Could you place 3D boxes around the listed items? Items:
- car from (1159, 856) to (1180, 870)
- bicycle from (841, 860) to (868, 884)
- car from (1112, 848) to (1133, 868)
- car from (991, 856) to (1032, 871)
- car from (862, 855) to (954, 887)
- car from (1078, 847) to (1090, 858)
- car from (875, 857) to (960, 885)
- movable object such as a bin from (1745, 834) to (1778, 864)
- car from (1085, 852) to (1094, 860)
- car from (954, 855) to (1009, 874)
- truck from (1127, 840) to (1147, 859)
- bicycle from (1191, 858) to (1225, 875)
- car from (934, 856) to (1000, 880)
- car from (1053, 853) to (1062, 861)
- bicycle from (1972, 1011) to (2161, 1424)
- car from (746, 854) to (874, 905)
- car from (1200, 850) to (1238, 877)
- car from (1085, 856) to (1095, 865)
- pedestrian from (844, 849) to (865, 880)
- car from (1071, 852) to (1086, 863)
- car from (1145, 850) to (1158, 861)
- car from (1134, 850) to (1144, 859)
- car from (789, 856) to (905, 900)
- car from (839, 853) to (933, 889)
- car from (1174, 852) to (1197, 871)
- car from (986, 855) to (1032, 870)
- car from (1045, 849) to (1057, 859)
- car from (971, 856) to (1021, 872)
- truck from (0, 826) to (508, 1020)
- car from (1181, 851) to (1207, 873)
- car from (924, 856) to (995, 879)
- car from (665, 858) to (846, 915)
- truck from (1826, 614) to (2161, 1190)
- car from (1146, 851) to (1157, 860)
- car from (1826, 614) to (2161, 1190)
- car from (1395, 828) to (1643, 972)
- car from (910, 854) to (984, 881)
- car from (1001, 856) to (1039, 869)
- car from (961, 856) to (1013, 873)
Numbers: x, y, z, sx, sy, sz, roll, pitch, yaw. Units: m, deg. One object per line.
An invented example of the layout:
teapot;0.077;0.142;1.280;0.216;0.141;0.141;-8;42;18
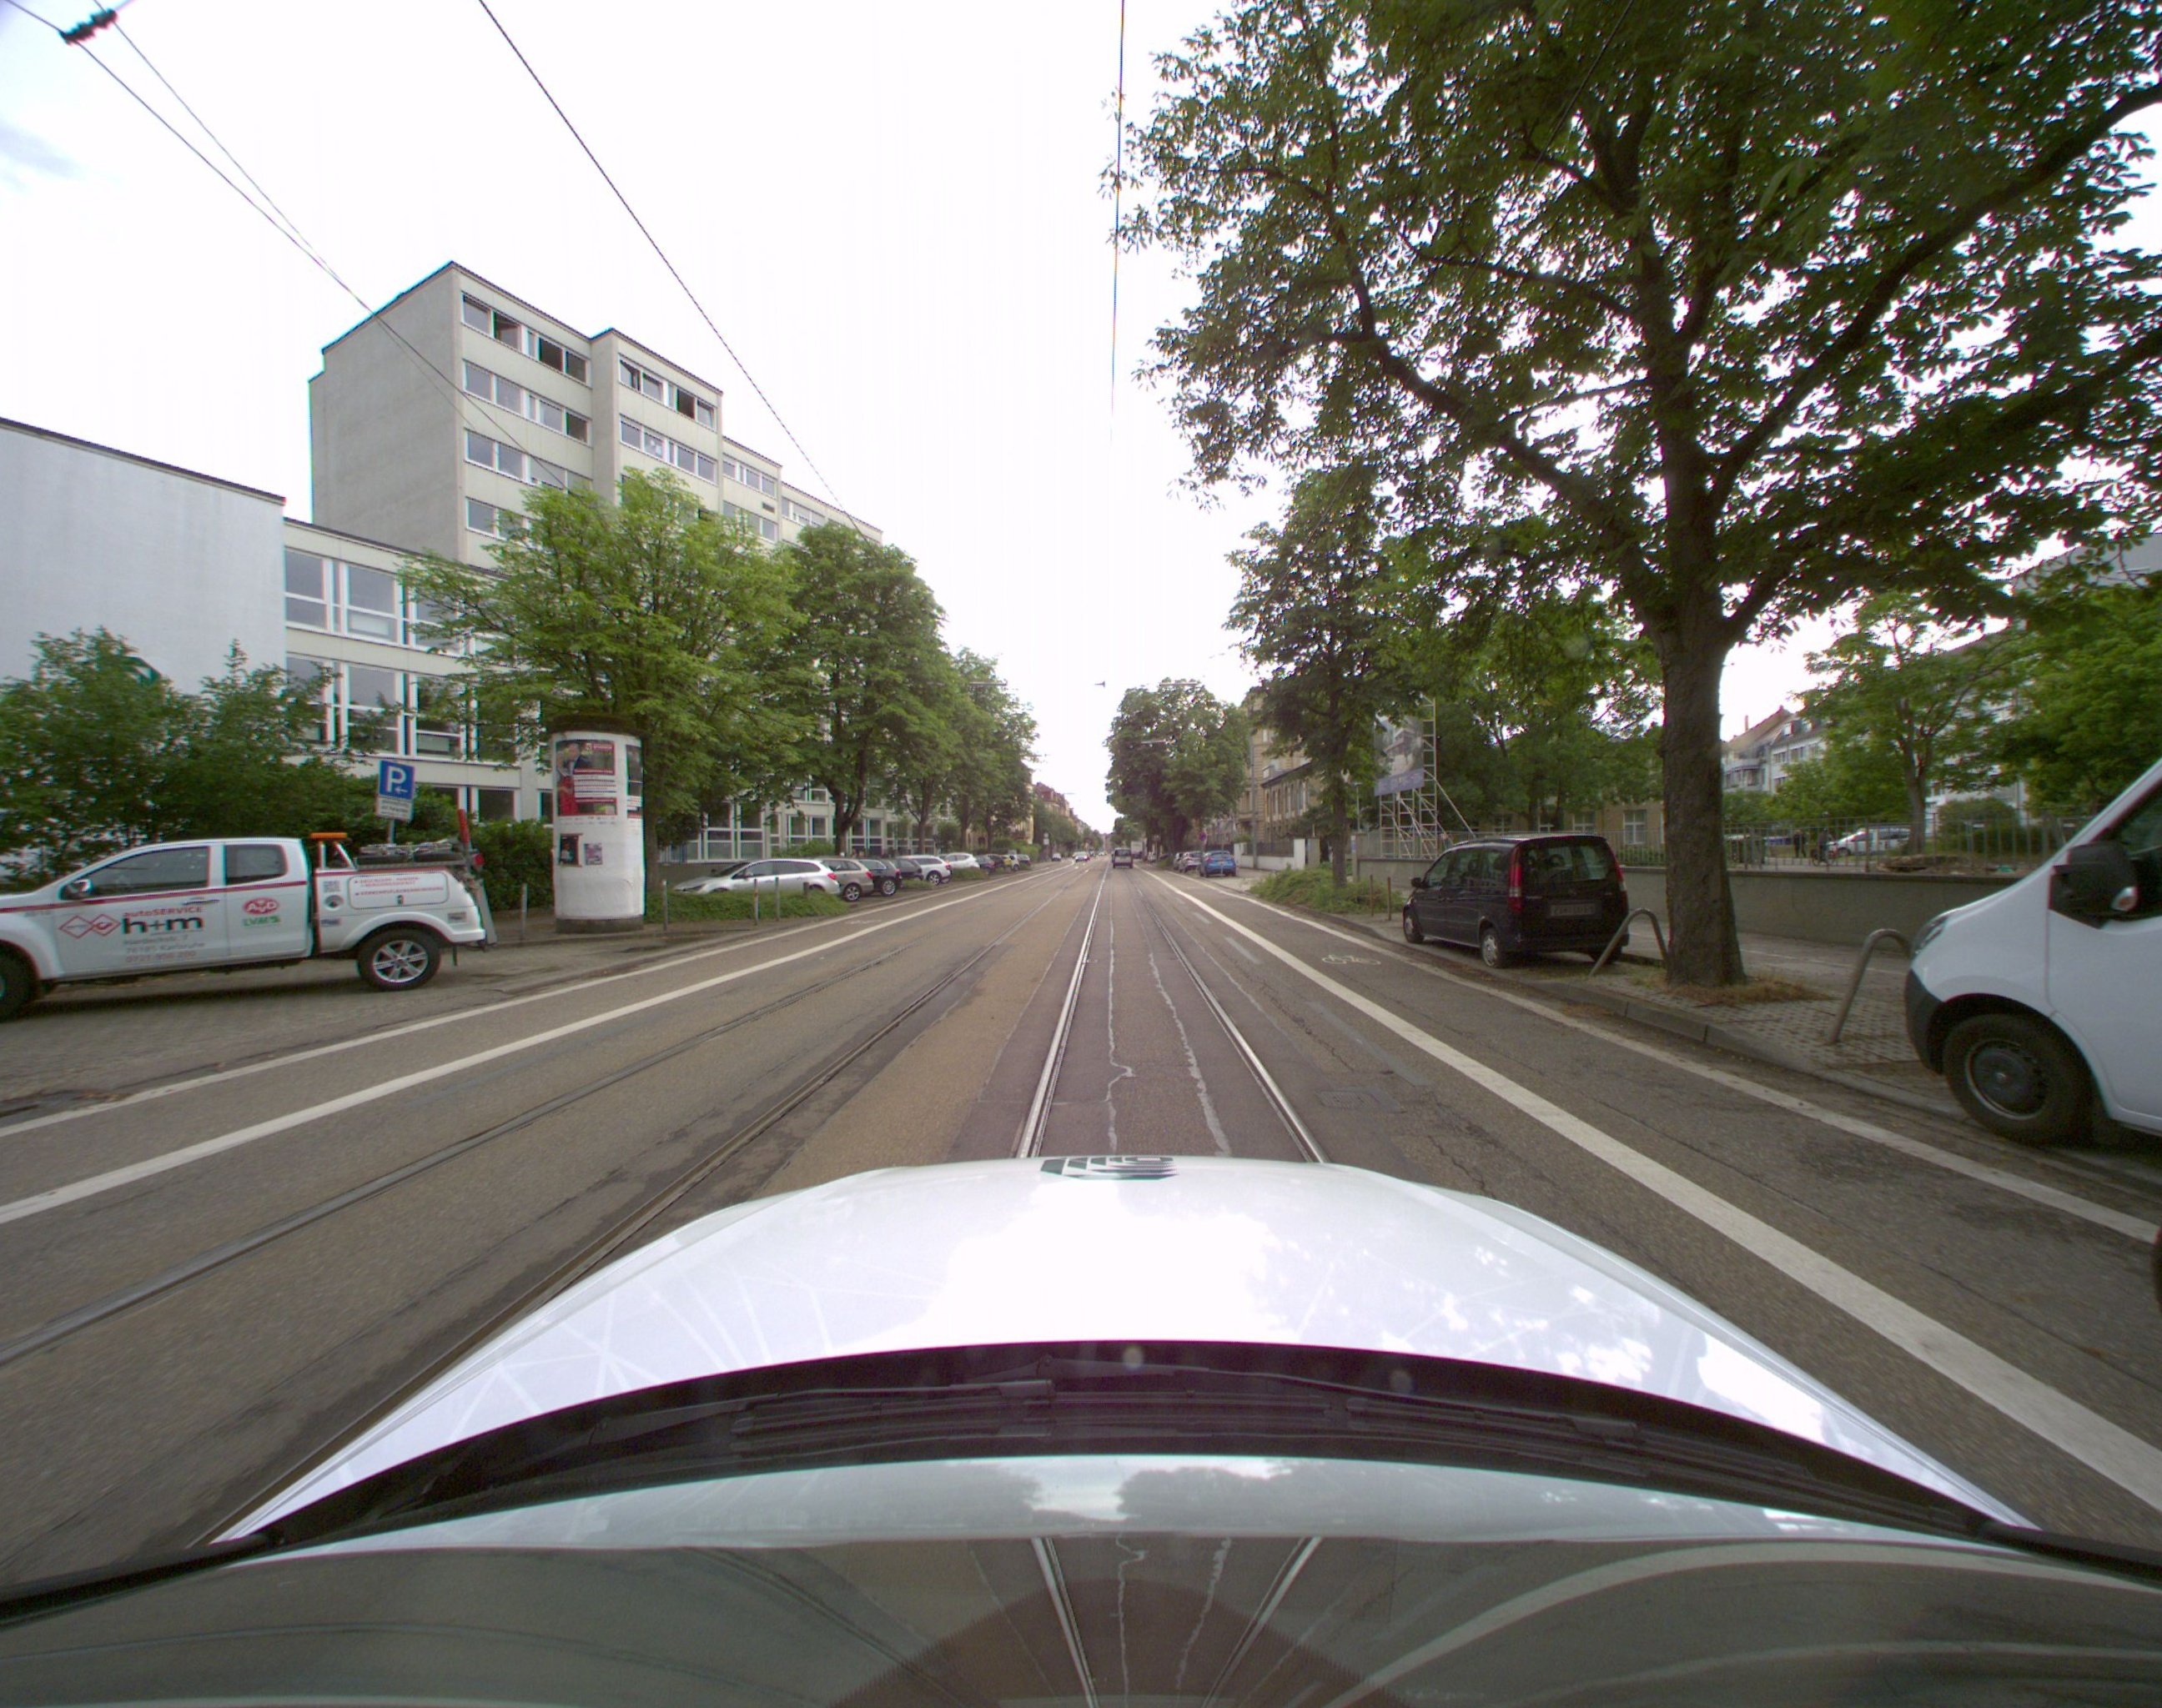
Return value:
car;8.604;0.866;79.295;1.865;1.251;4.005;-2;0;4
bicycle;-12.193;0.979;43.882;0.401;1.268;1.605;0;-1;26
car;3.860;0.380;74.654;1.803;1.708;3.703;0;-1;5
car;-6.835;0.927;79.720;3.722;1.386;1.687;0;0;-22
car;-8.430;0.787;39.795;4.046;1.484;1.681;0;0;-36
car;0.766;-0.389;177.575;2.194;2.417;4.007;0;0;6
car;-8.521;0.869;42.646;4.046;1.405;1.681;0;0;-36
movable object such as a bin;34.948;-0.249;41.841;1.042;1.450;1.363;-1;2;30
car;2.312;0.555;220.647;2.196;2.255;4.002;-2;0;2
car;-7.639;0.783;62.599;3.990;1.351;1.679;0;0;-43
truck;12.033;-1.039;176.221;3.795;4.029;10.217;0;0;0
bicycle;7.882;0.763;50.524;2.007;0.957;0.533;-1;0;-2
car;-7.823;0.921;56.124;4.371;1.535;1.679;0;0;-43
car;-4.577;0.582;156.532;1.636;1.354;3.875;0;0;-1
bicycle;3.010;0.990;1.548;0.487;0.979;2.059;0;0;4
car;-8.813;0.778;26.666;3.671;1.524;1.554;0;0;-42
car;7.709;0.508;45.789;1.668;1.460;3.434;0;0;2
car;1.552;1.127;147.005;1.670;1.522;2.783;0;-1;3
pedestrian;-12.184;0.563;43.750;0.746;1.612;0.738;0;-2;25
car;-0.405;0.516;124.230;1.892;1.530;3.759;-3;0;4
car;11.587;0.261;133.753;1.985;1.794;4.004;-1;0;3
car;11.424;0.143;161.006;1.877;1.846;4.001;0;-1;2
car;-8.491;0.823;29.741;3.726;1.524;1.679;0;0;-42
car;-8.700;0.713;36.452;3.726;1.524;1.679;0;0;-42
car;8.261;0.550;64.698;1.470;1.428;3.567;0;0;2
car;-6.540;0.750;74.092;3.990;1.351;1.679;0;0;-43
car;-6.741;-0.027;181.868;2.168;2.207;4.222;-2;0;3
car;-7.169;0.831;68.981;3.990;1.351;1.679;0;0;-43
truck;-9.880;0.646;9.433;5.092;1.848;1.976;-1;0;-43
car;7.981;0.544;57.666;1.470;1.481;3.567;0;0;2
car;-7.833;0.854;52.766;4.371;1.454;1.679;0;0;-43
car;-9.180;0.853;23.254;1.781;1.465;4.459;-1;-1;42
truck;5.925;0.214;2.609;2.105;2.602;5.492;0;0;0
car;10.925;0.244;126.674;1.762;1.399;3.799;0;0;4
car;5.925;0.214;2.609;2.105;2.602;5.492;0;0;0
car;6.301;0.594;12.310;1.647;1.812;4.086;0;-1;2
car;-8.111;0.779;49.586;1.678;1.556;4.373;0;0;43
car;-6.457;0.898;85.977;3.722;1.386;1.687;0;0;-22
car;-7.559;0.809;65.900;3.990;1.351;1.679;0;0;-43
